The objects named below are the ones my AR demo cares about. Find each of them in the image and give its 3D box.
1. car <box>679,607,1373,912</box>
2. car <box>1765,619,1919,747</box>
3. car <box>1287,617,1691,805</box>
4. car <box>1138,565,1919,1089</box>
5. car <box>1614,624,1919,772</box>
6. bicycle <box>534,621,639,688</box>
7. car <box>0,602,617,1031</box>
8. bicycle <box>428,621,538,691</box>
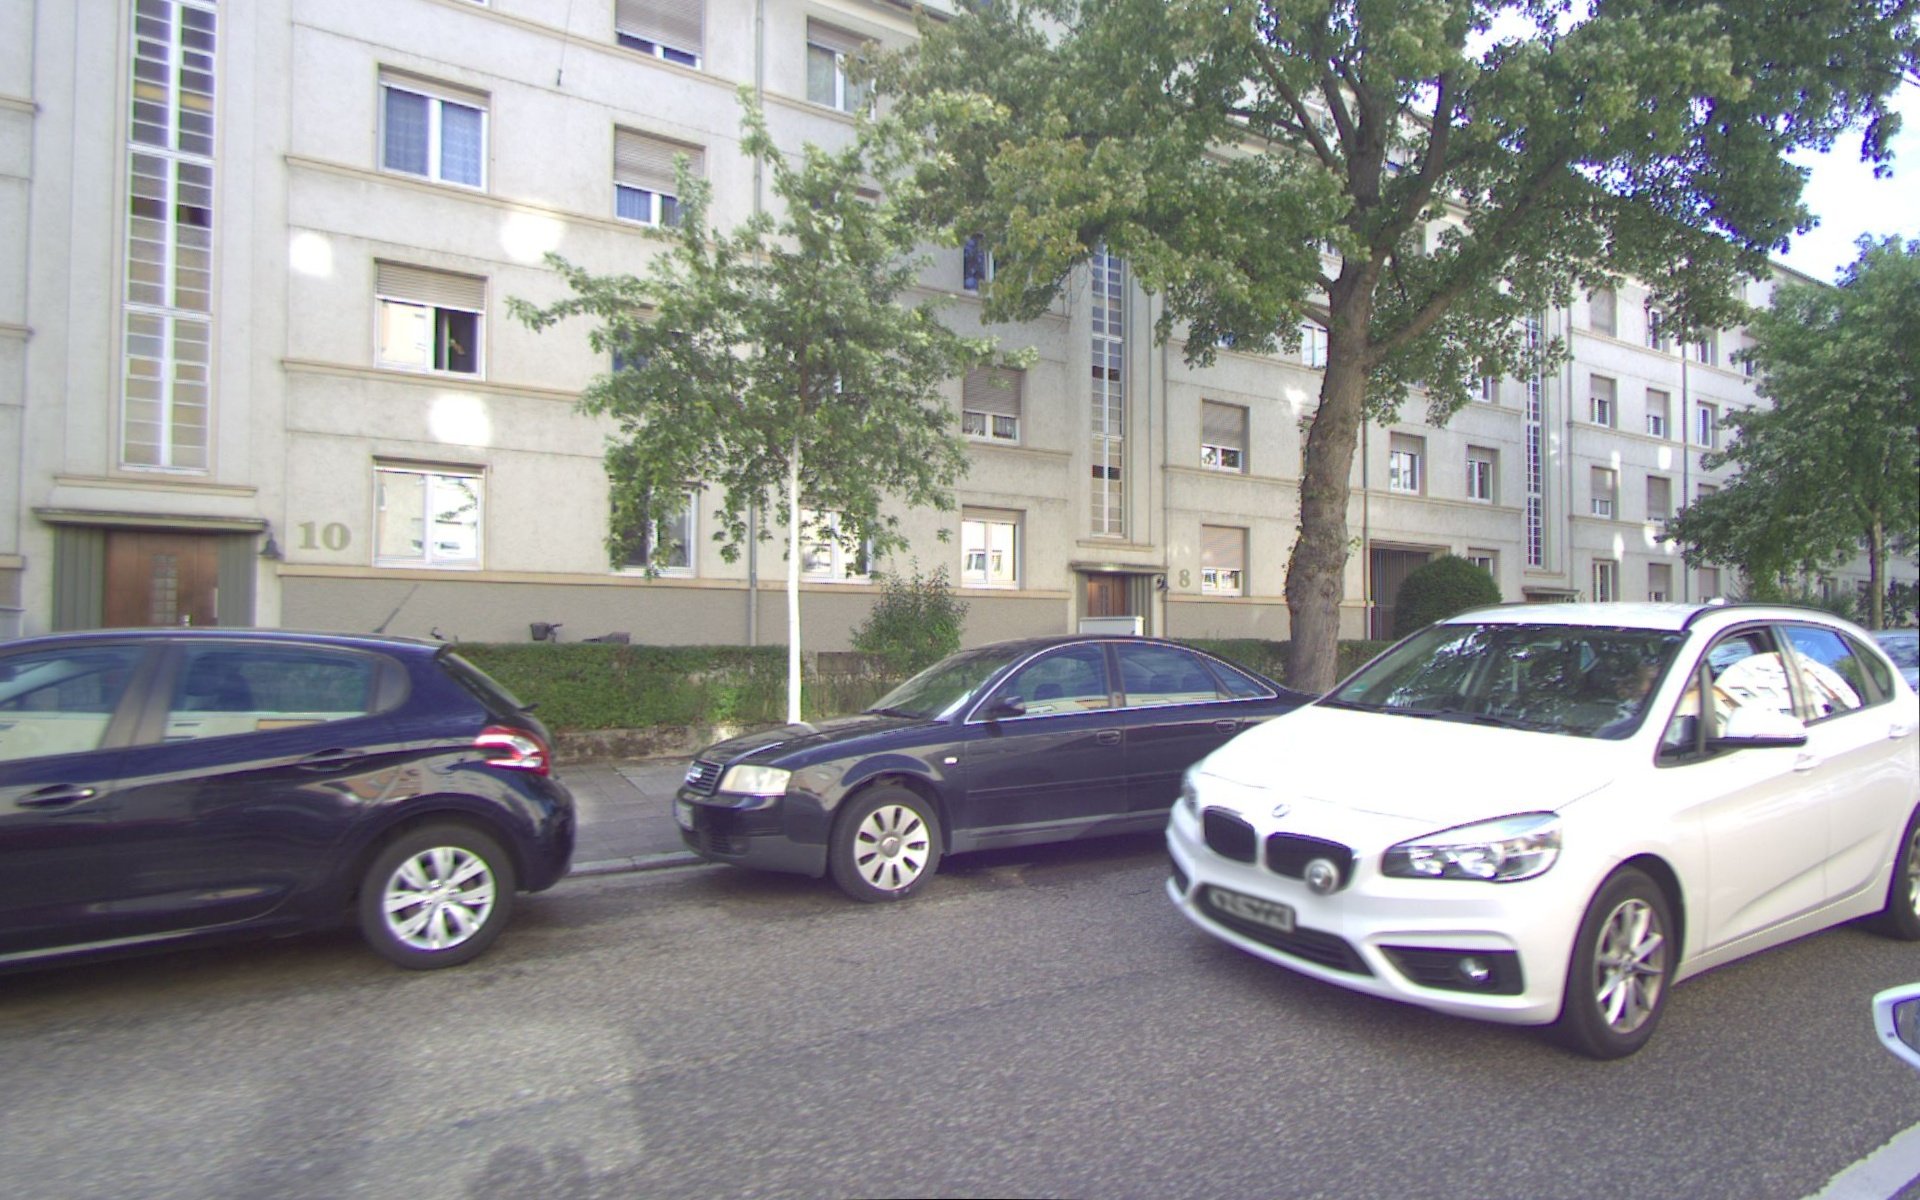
[{"bbox_3d":[0.515,0.897,6.729,4.394,1.499,1.680,1,-5,-27],"label":"car"},{"bbox_3d":[13.597,1.144,14.568,3.949,1.641,1.730,1,-3,-32],"label":"car"},{"bbox_3d":[5.049,0.959,9.452,3.921,1.437,1.592,2,-5,-33],"label":"car"},{"bbox_3d":[2.980,0.724,4.766,3.962,1.549,1.851,1,-2,-29],"label":"car"},{"bbox_3d":[9.602,1.072,11.873,3.969,1.487,1.606,2,-4,-32],"label":"car"},{"bbox_3d":[-6.203,0.893,16.697,1.559,1.063,0.566,1,-1,-31],"label":"bicycle"},{"bbox_3d":[-3.734,0.828,4.310,4.069,1.499,1.679,2,-5,-29],"label":"car"},{"bbox_3d":[-7.567,0.870,15.942,1.523,1.070,0.539,1,-1,-31],"label":"bicycle"}]
